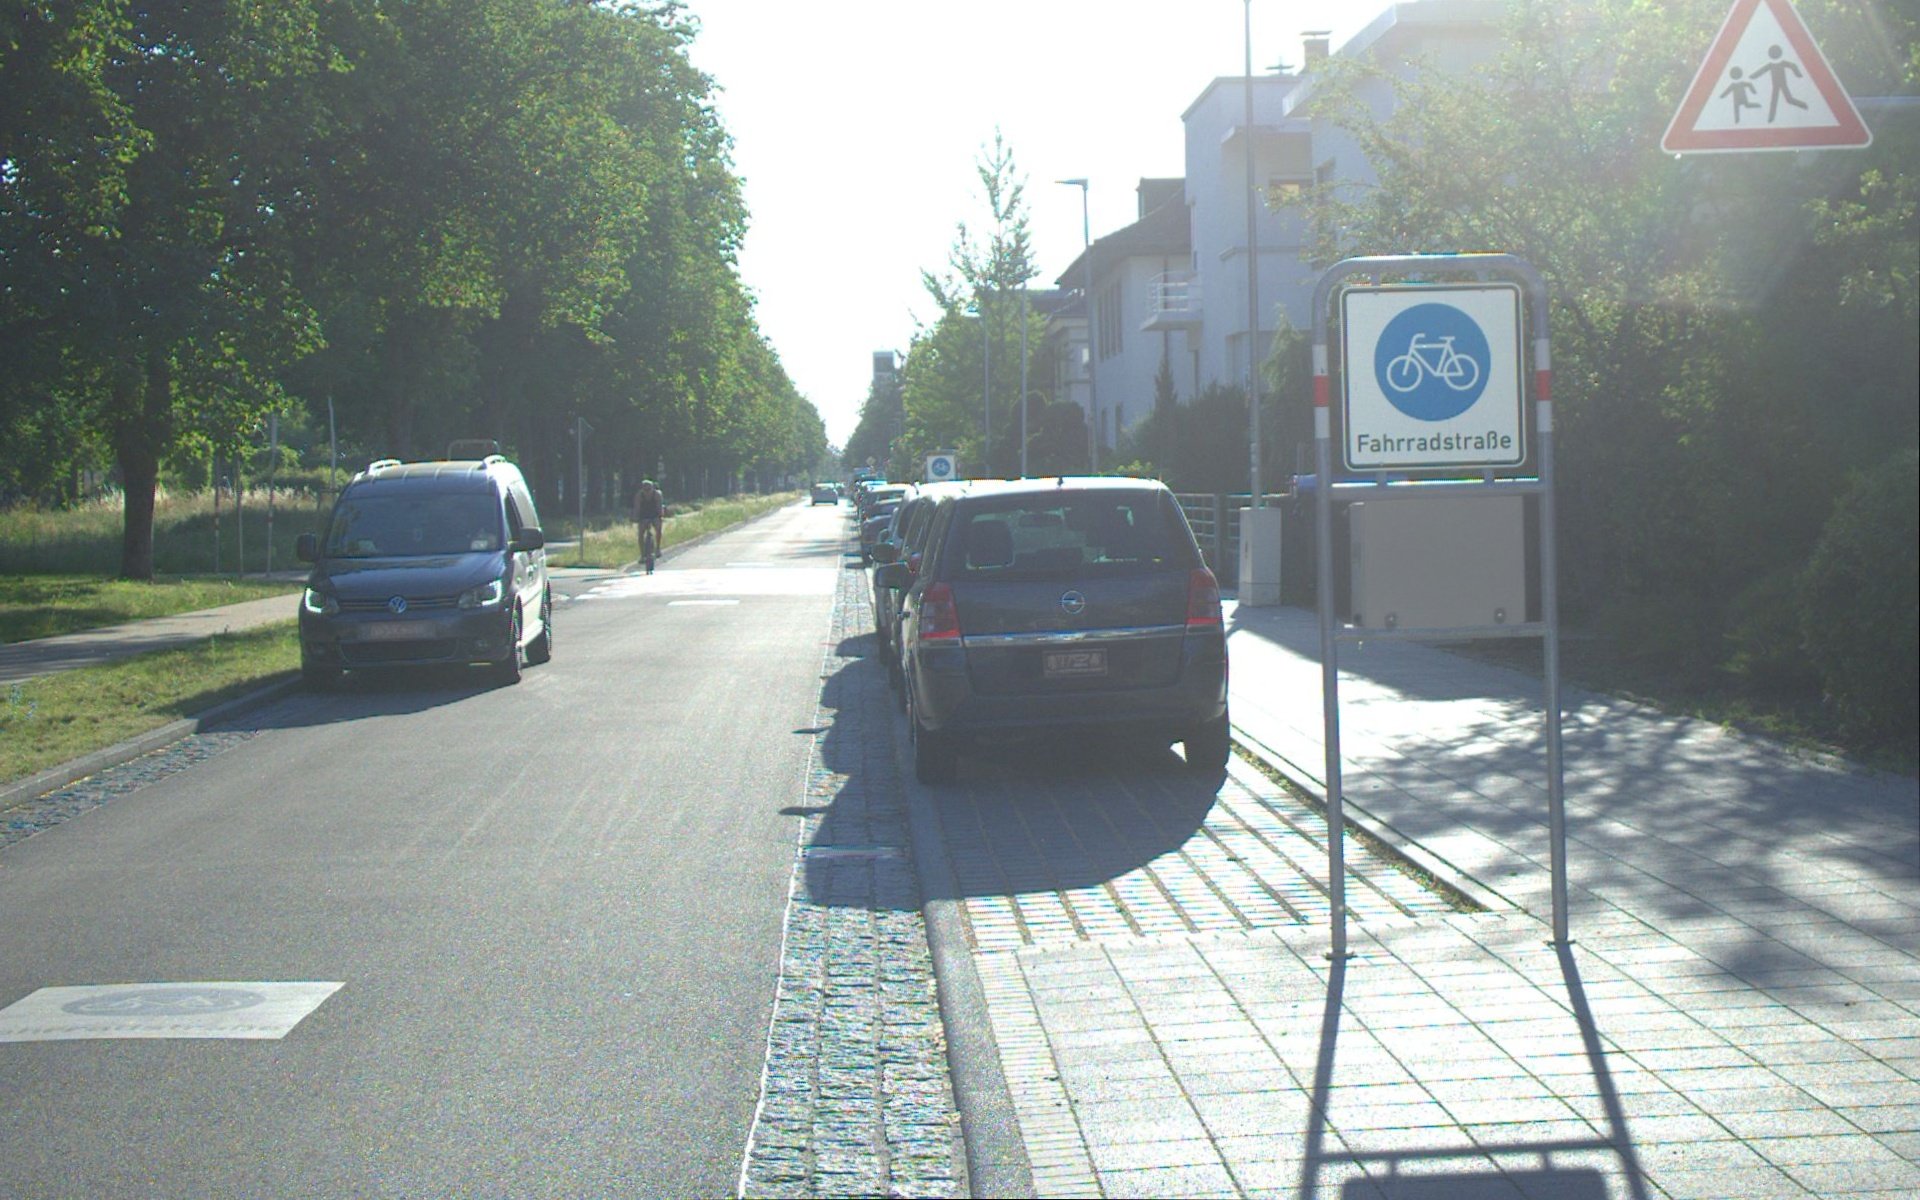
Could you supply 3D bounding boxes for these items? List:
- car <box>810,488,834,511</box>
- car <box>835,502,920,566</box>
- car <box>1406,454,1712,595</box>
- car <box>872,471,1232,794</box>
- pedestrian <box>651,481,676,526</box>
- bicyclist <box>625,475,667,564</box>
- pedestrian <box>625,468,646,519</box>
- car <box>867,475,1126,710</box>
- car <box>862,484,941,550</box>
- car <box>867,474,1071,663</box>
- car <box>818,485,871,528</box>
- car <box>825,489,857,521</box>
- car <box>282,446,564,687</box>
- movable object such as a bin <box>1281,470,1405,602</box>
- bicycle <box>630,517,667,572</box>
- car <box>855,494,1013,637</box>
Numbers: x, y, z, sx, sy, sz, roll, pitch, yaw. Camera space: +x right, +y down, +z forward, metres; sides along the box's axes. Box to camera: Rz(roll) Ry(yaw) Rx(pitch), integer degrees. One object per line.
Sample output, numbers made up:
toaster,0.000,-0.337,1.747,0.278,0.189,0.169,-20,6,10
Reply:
car,-9.526,-6.932,237.323,1.652,1.536,3.267,0,2,-2
car,-1.765,-1.439,73.466,1.774,1.284,4.273,0,2,-1
car,7.106,-0.906,41.039,3.494,1.636,1.643,0,2,6
car,0.431,0.094,20.021,1.710,1.605,4.169,-3,2,-3
pedestrian,-10.704,-3.478,124.193,0.783,1.609,0.952,0,2,2
bicyclist,-5.941,-1.523,65.164,0.681,1.667,1.173,-2,1,-2
pedestrian,-11.724,-3.847,124.233,0.624,1.824,0.886,0,2,2
car,0.196,-0.120,25.672,1.678,1.550,4.145,-2,2,-2
car,-1.463,-2.058,84.636,1.744,1.469,3.923,-4,2,-3
car,0.054,-0.340,31.260,1.678,1.550,4.131,-2,2,-1
car,-4.075,-3.273,120.742,1.736,1.444,4.198,-2,1,-3
car,-5.923,-4.756,171.480,1.498,1.561,3.267,-1,2,-1
car,-4.514,-0.328,29.509,1.843,1.841,4.574,-2,2,-3
movable object such as a bin,4.209,-0.709,37.889,1.237,1.427,1.123,0,2,0
bicycle,-5.905,-1.062,65.231,0.556,1.028,1.915,-2,1,-2
car,-0.317,-0.415,37.290,1.563,1.385,4.375,-2,2,-1
